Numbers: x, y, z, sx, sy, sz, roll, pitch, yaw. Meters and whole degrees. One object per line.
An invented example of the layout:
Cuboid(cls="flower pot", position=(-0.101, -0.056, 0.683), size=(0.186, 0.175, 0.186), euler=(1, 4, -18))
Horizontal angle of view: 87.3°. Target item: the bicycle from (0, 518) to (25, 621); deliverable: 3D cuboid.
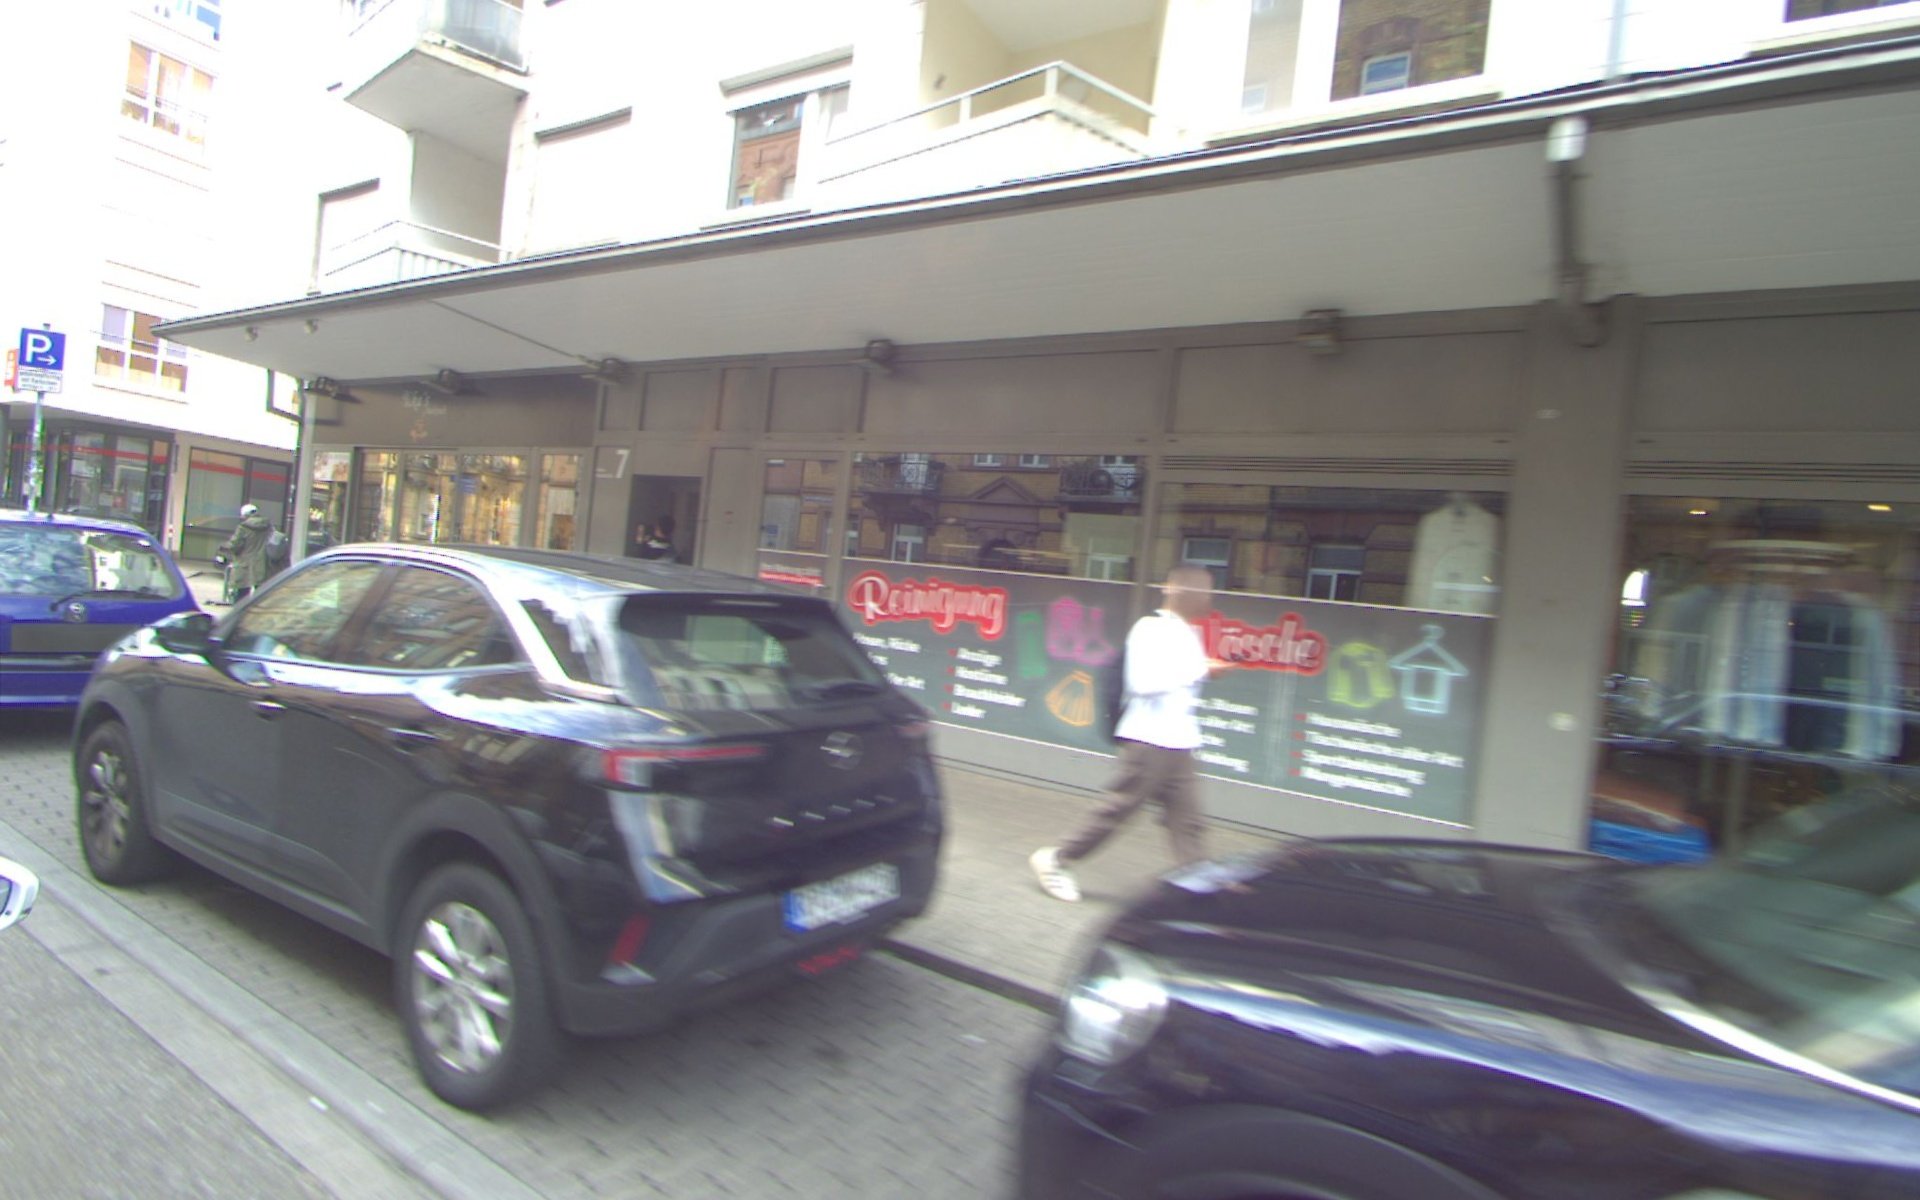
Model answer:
Cuboid(cls="bicycle", position=(-11.283, -0.408, 10.736), size=(1.741, 1.109, 0.682), euler=(5, 2, -14))

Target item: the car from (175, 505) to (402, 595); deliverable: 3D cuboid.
Cuboid(cls="car", position=(-16.979, -1.223, 25.634), size=(1.779, 1.651, 4.363), euler=(9, 1, 34))

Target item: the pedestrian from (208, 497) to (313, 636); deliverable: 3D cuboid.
Cuboid(cls="pedestrian", position=(-8.696, -0.413, 12.509), size=(0.770, 1.609, 0.822), euler=(7, 1, 42))

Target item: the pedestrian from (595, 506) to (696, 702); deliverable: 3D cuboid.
Cuboid(cls="pedestrian", position=(-3.212, 0.041, 10.251), size=(0.701, 1.883, 0.640), euler=(6, 1, -28))

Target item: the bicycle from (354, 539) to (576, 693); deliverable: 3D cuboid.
Cuboid(cls="bicycle", position=(-5.206, 0.128, 10.502), size=(2.459, 1.308, 0.918), euler=(7, 2, 34))

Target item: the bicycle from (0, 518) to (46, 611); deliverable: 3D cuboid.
Cuboid(cls="bicycle", position=(-12.511, -0.520, 12.218), size=(1.931, 1.109, 0.688), euler=(5, 1, -14))

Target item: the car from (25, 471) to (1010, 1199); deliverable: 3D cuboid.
Cuboid(cls="car", position=(-1.945, 0.461, 4.051), size=(3.838, 1.597, 1.689), euler=(6, 1, 32))

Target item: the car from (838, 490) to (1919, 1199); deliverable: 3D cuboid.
Cuboid(cls="car", position=(1.909, 0.856, 1.476), size=(3.861, 1.626, 1.793), euler=(7, 1, 34))

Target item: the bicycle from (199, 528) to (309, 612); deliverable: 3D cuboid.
Cuboid(cls="bicycle", position=(-11.642, -0.502, 16.568), size=(1.899, 1.206, 0.535), euler=(6, 0, 25))

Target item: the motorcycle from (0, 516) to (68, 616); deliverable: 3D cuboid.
Cuboid(cls="motorcycle", position=(-11.580, -0.449, 11.717), size=(1.638, 1.109, 0.606), euler=(5, 2, -14))

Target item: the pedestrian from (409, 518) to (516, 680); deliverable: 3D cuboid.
Cuboid(cls="pedestrian", position=(-5.271, -0.015, 10.669), size=(0.768, 1.610, 0.643), euler=(7, 3, 35))

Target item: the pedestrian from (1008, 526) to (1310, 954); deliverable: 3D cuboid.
Cuboid(cls="pedestrian", position=(0.938, 0.585, 4.771), size=(1.107, 1.750, 0.612), euler=(7, 4, 28))

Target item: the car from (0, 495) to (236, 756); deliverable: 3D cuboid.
Cuboid(cls="car", position=(-6.909, -0.004, 7.131), size=(3.966, 1.457, 1.595), euler=(7, 1, 35))

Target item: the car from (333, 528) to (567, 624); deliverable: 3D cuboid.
Cuboid(cls="car", position=(-10.230, -0.435, 20.415), size=(1.769, 1.519, 3.786), euler=(6, 0, 34))
